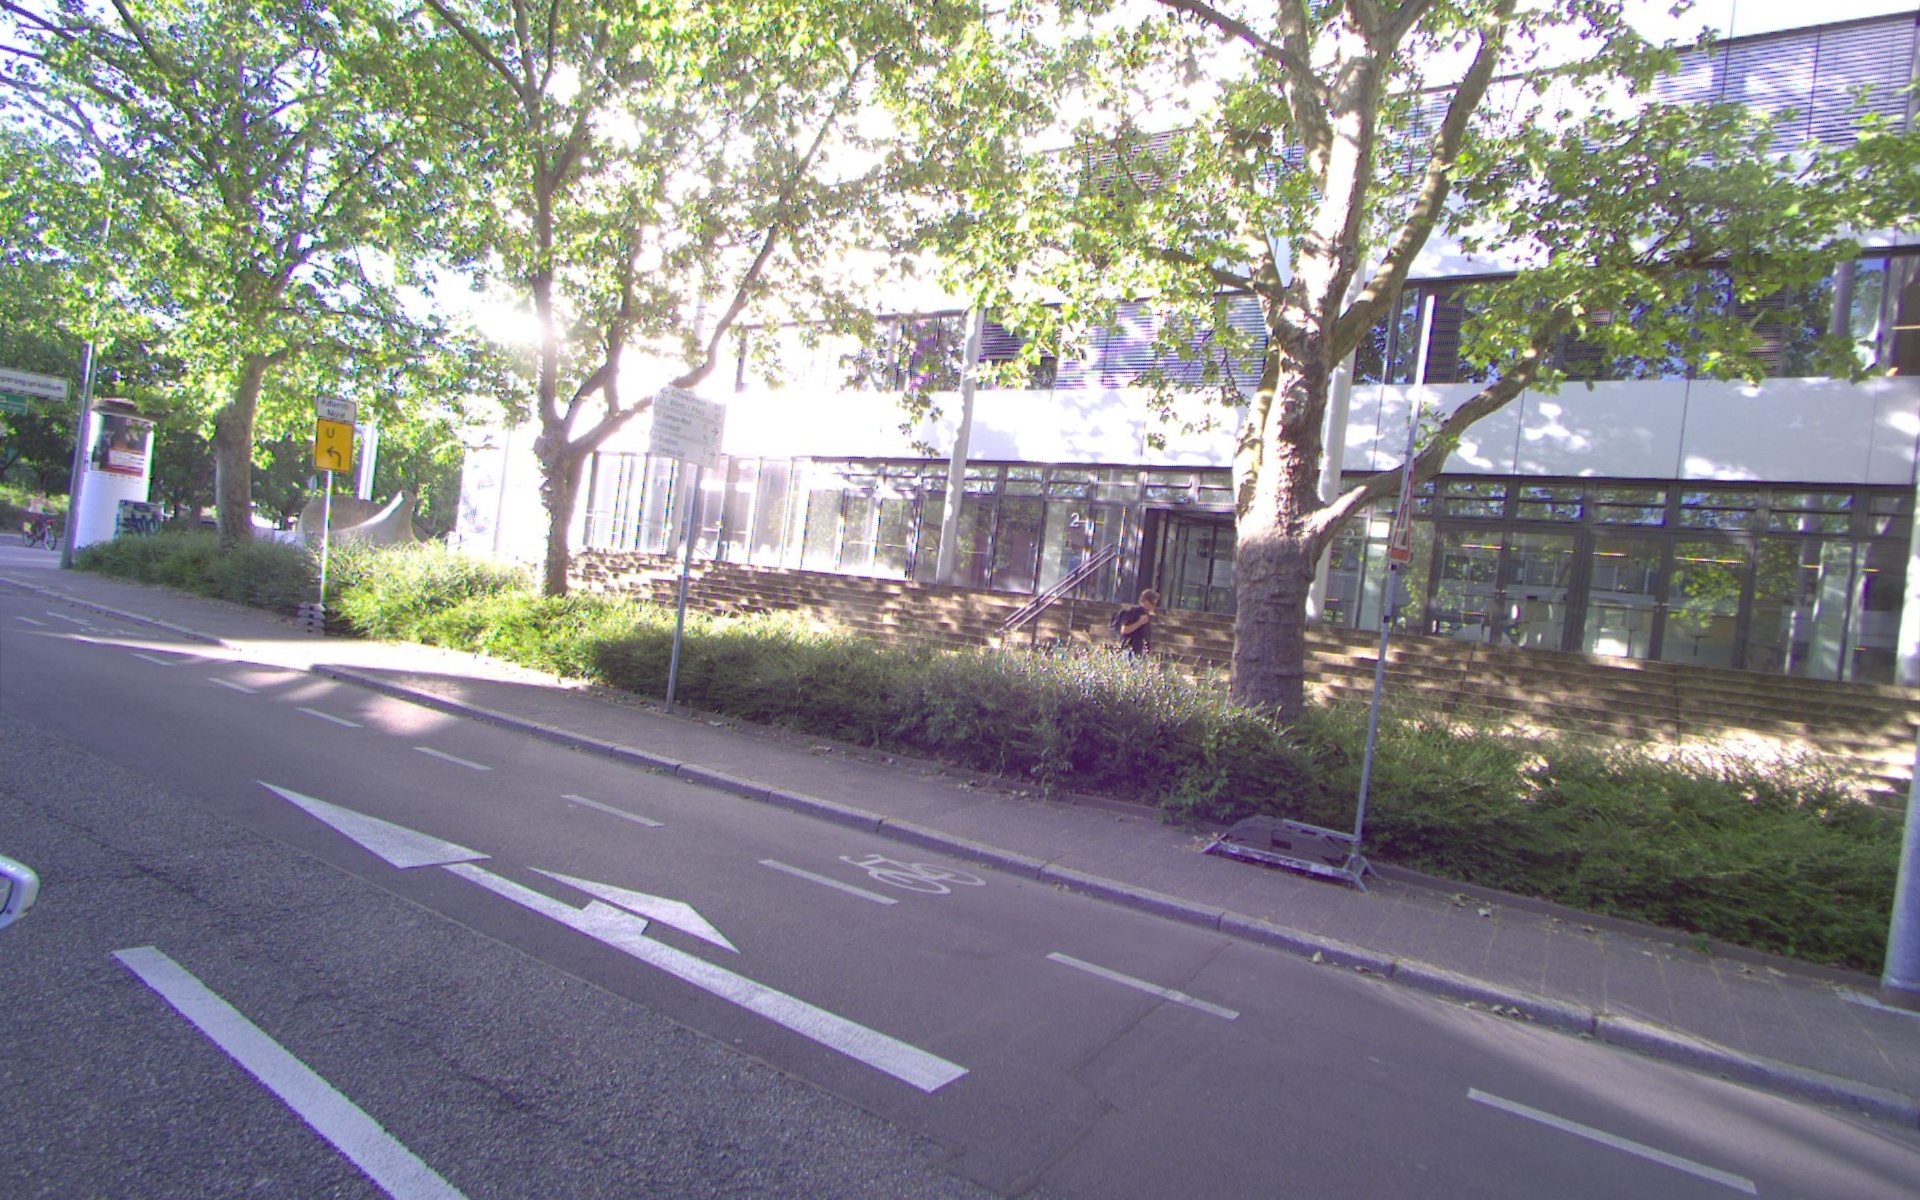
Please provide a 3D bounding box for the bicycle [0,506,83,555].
[{"bbox_3d":[-28.183,-2.134,30.844,2.134,1.186,0.719,7,-1,13],"label":"bicycle"}]

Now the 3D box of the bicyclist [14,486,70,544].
[{"bbox_3d":[-28.166,-2.590,30.872,0.918,1.601,0.719,7,-1,13],"label":"bicyclist"}]

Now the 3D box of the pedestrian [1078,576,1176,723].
[{"bbox_3d":[2.217,0.657,13.319,0.848,1.802,0.785,7,0,30],"label":"pedestrian"}]
